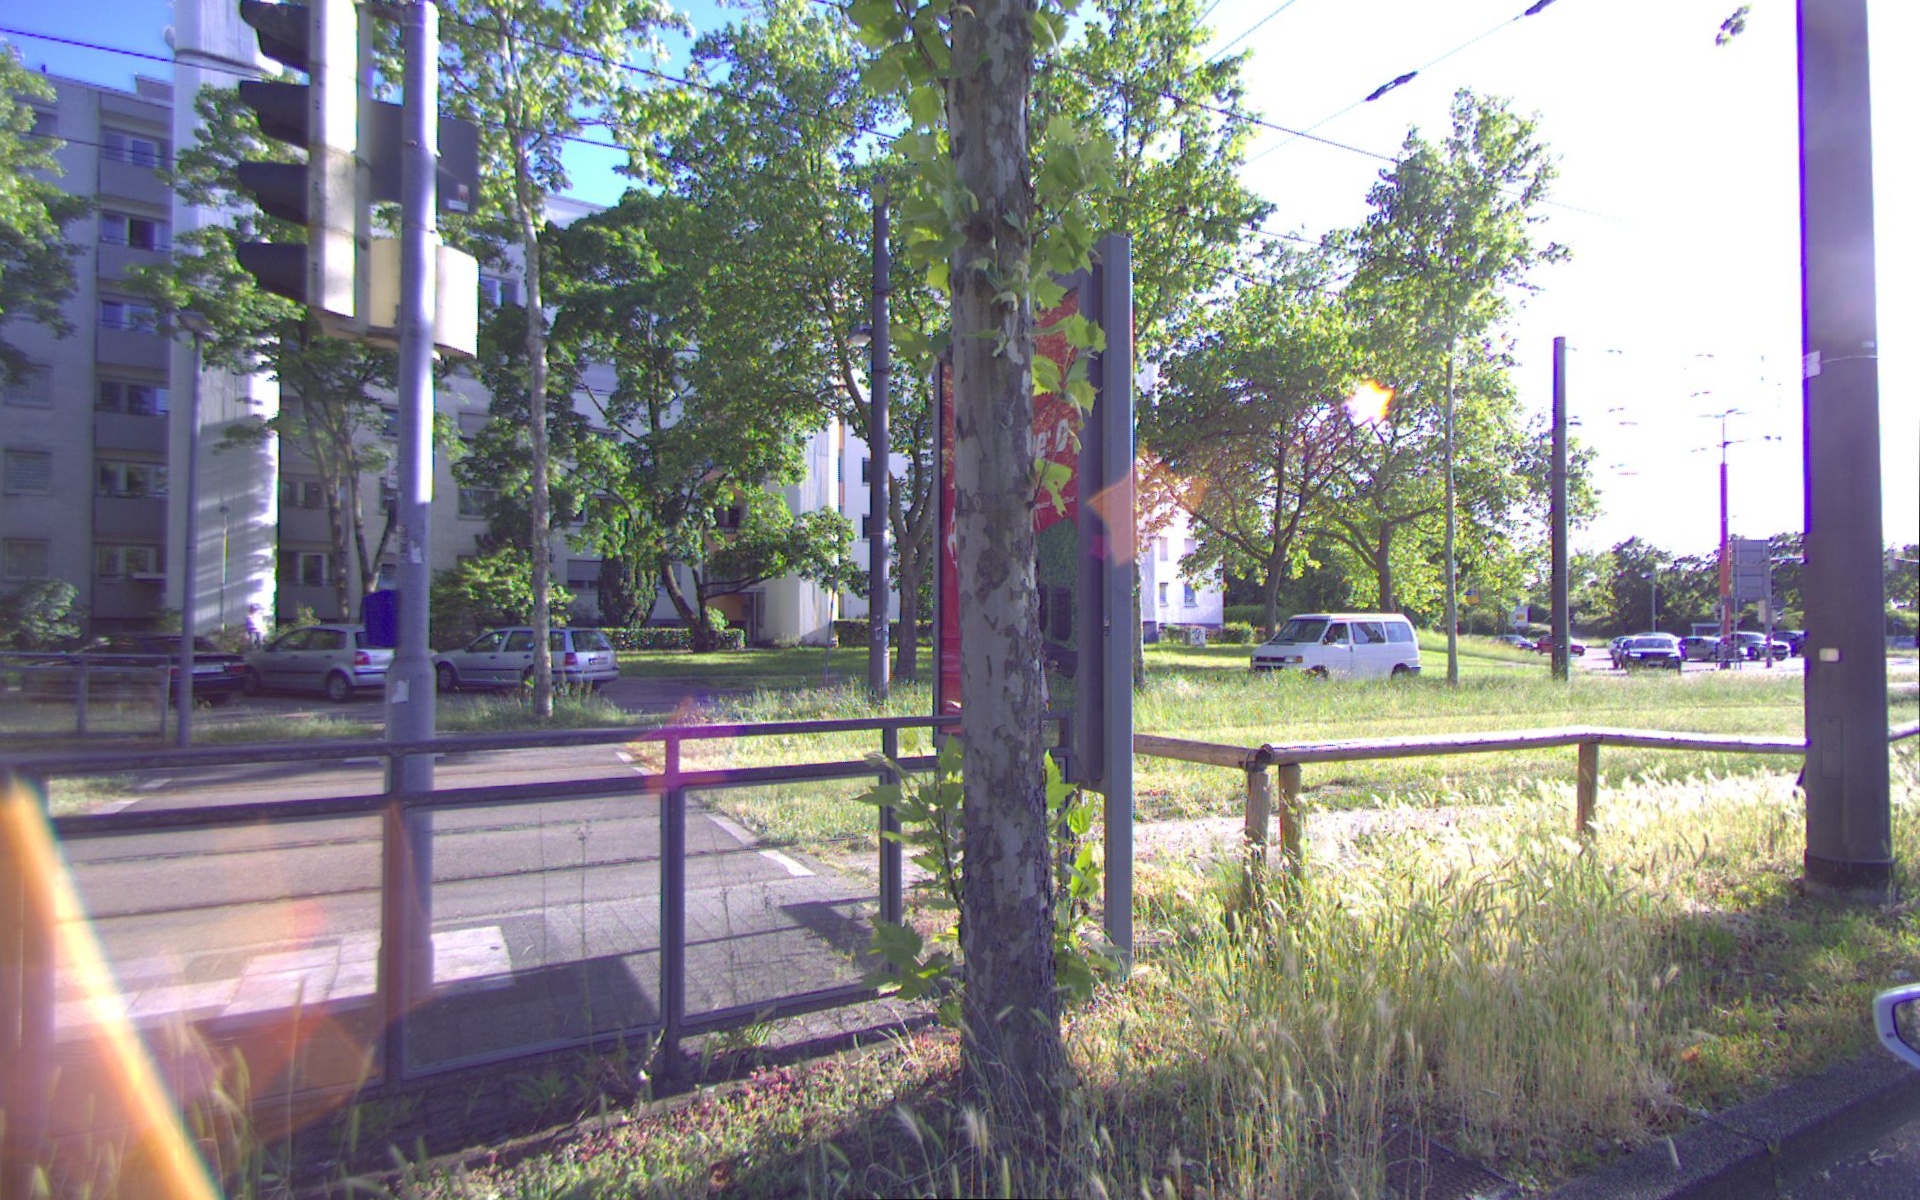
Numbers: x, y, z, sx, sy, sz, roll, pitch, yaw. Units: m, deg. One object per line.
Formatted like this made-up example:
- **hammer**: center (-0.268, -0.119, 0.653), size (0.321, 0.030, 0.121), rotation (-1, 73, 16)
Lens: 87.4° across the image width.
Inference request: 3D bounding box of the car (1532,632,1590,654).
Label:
- **car**: center (43.856, 3.122, 73.418), size (1.699, 1.533, 3.998), rotation (1, -1, -3)

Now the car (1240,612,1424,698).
- **car**: center (9.478, 1.347, 25.509), size (4.593, 2.018, 1.785), rotation (1, -1, -28)

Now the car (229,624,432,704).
- **car**: center (-12.698, 1.246, 20.284), size (3.547, 1.439, 1.576), rotation (1, -1, 18)

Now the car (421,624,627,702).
- **car**: center (-9.358, 1.298, 21.618), size (3.898, 1.462, 1.710), rotation (1, 0, 18)

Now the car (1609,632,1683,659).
- **car**: center (44.586, 2.916, 65.389), size (1.833, 1.633, 4.186), rotation (1, -1, -4)

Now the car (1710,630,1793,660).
- **car**: center (47.828, 2.693, 60.773), size (1.960, 1.666, 4.001), rotation (1, -1, 2)

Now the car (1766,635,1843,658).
- **car**: center (54.324, 2.985, 64.710), size (1.664, 1.347, 4.001), rotation (1, -1, 2)

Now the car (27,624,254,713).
- **car**: center (-15.117, 1.200, 18.529), size (3.849, 1.367, 1.593), rotation (2, 0, 22)

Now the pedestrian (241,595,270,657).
- **pedestrian**: center (-20.462, 0.745, 29.180), size (0.628, 1.780, 0.518), rotation (1, -1, -32)

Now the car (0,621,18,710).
- **car**: center (-18.158, 1.053, 16.805), size (3.919, 1.478, 1.676), rotation (2, 0, 16)

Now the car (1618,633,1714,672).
- **car**: center (29.402, 2.142, 41.827), size (4.054, 1.532, 1.756), rotation (1, -1, -30)

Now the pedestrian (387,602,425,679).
- **pedestrian**: center (-13.178, 0.958, 23.897), size (0.746, 1.780, 0.757), rotation (1, -1, -29)
